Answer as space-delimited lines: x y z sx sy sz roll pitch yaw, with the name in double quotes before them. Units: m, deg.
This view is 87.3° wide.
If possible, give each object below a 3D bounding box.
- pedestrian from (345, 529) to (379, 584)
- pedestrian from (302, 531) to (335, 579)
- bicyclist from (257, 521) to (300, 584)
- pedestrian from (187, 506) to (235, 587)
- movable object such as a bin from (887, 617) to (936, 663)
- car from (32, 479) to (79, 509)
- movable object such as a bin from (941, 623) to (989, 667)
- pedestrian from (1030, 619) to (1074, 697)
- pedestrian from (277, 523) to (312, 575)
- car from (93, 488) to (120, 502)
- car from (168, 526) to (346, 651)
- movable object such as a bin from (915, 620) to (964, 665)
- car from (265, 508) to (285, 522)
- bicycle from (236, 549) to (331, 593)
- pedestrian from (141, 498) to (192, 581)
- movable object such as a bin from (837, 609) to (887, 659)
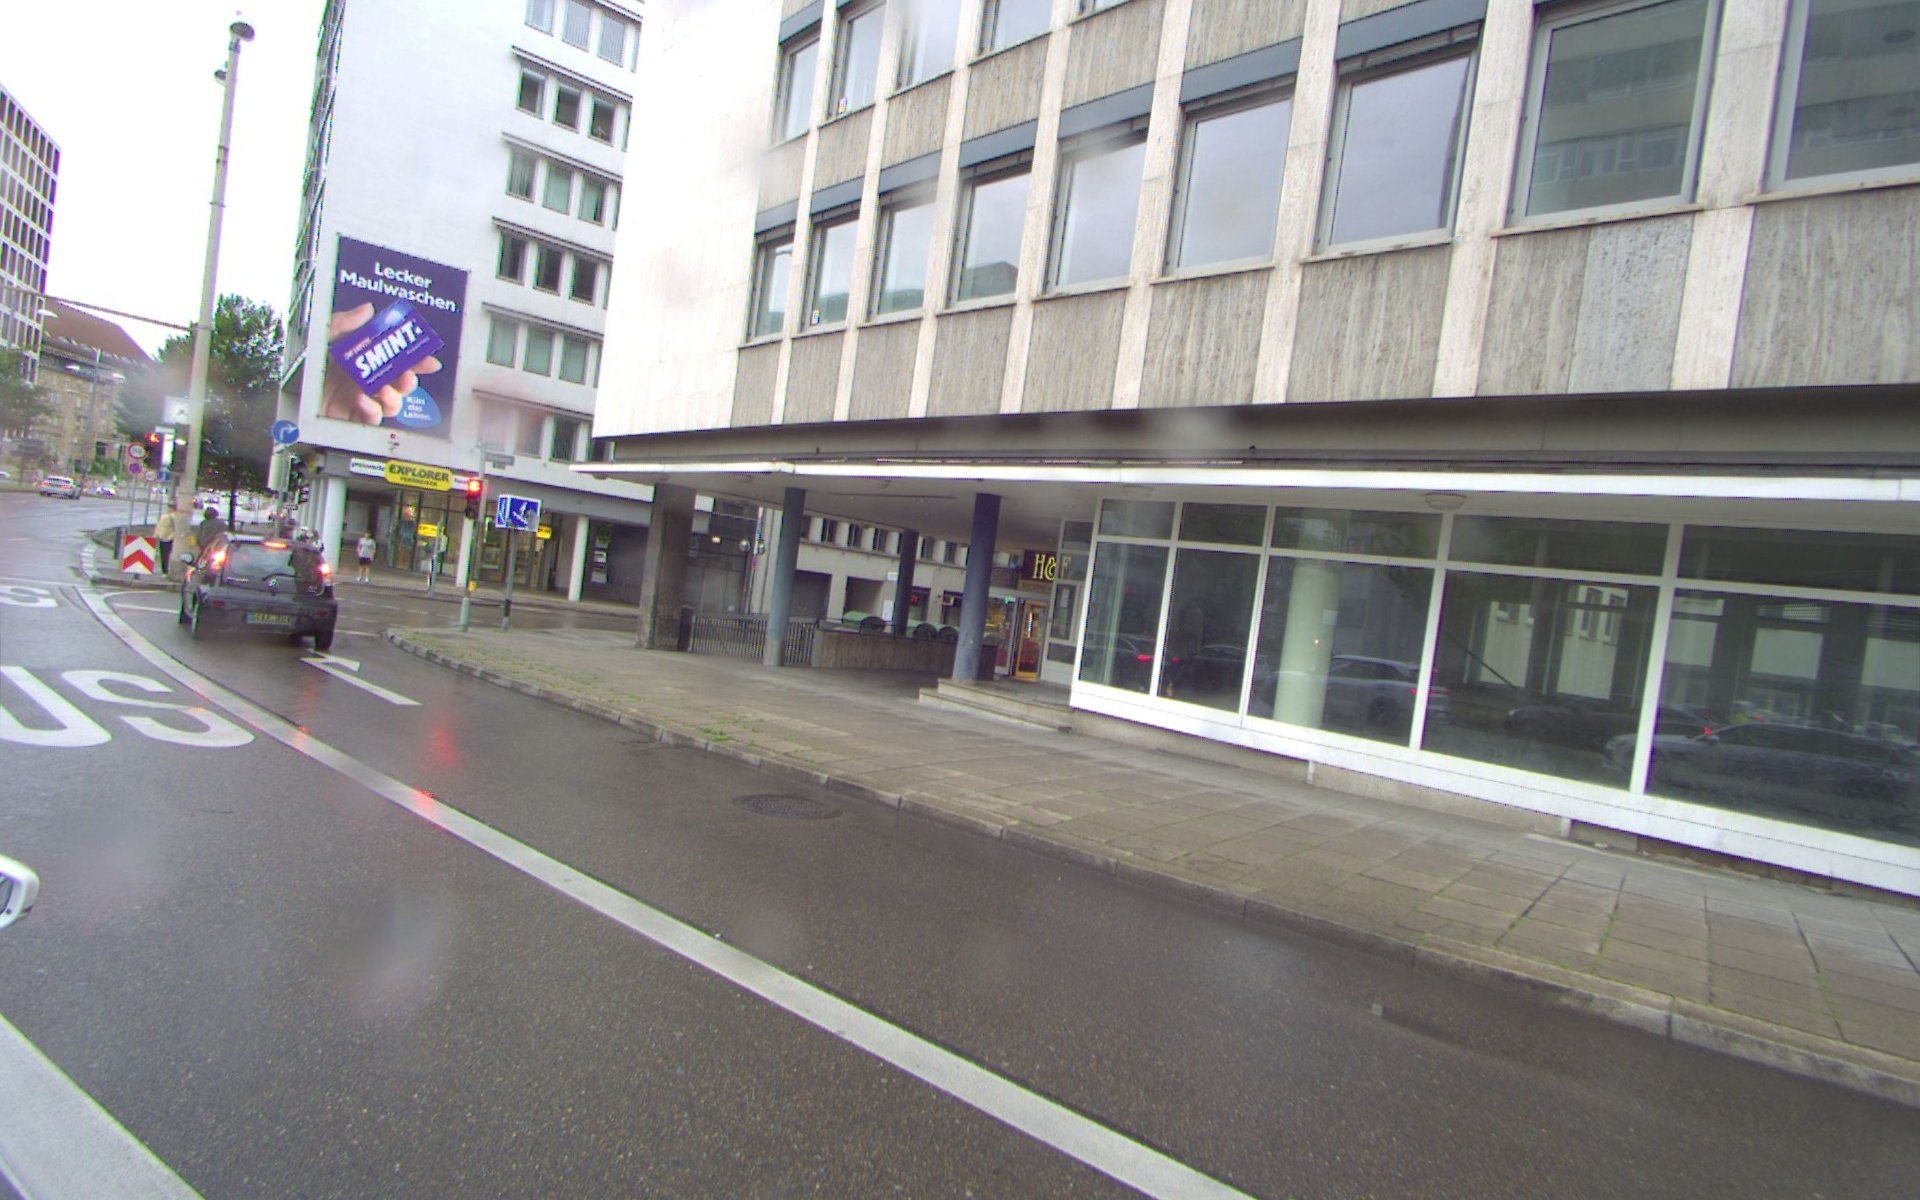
"pedestrian" -21.020 -1.520 35.381 0.660 1.815 0.771 7 0 -15
"pedestrian" -22.179 -1.559 34.771 0.616 1.561 0.651 8 0 -15
"bicyclist" -18.327 -1.273 27.049 0.764 1.588 0.527 7 0 -40
"pedestrian" -17.792 -1.273 23.906 0.745 1.820 0.808 7 1 -38
"movable object such as a bin" -1.694 1.384 35.197 1.094 1.399 1.186 7 1 -37
"car" -64.285 -7.526 71.581 1.878 1.662 3.962 8 -1 -35
"movable object such as a bin" 0.168 1.642 36.619 1.094 1.399 1.186 7 1 -37
"pedestrian" 2.291 1.438 25.043 0.697 1.825 0.801 8 0 18
"pedestrian" -22.907 -1.729 34.620 0.660 1.675 0.651 8 0 -15
"car" -115.007 -14.108 135.560 1.979 1.506 3.968 8 0 -30
"car" -10.446 -0.229 14.823 1.566 1.446 3.953 9 -2 -42
"movable object such as a bin" -0.737 1.515 35.932 1.094 1.399 1.186 7 1 -37
"car" -91.682 -11.359 134.663 1.680 1.503 3.973 8 -2 -28
"bicycle" -18.238 -0.774 27.147 2.018 0.899 0.398 9 -1 -41
"pedestrian" -18.536 -1.421 23.516 0.745 1.820 0.808 7 1 -38
"movable object such as a bin" -3.275 1.134 33.530 0.961 1.447 1.268 7 1 -36
